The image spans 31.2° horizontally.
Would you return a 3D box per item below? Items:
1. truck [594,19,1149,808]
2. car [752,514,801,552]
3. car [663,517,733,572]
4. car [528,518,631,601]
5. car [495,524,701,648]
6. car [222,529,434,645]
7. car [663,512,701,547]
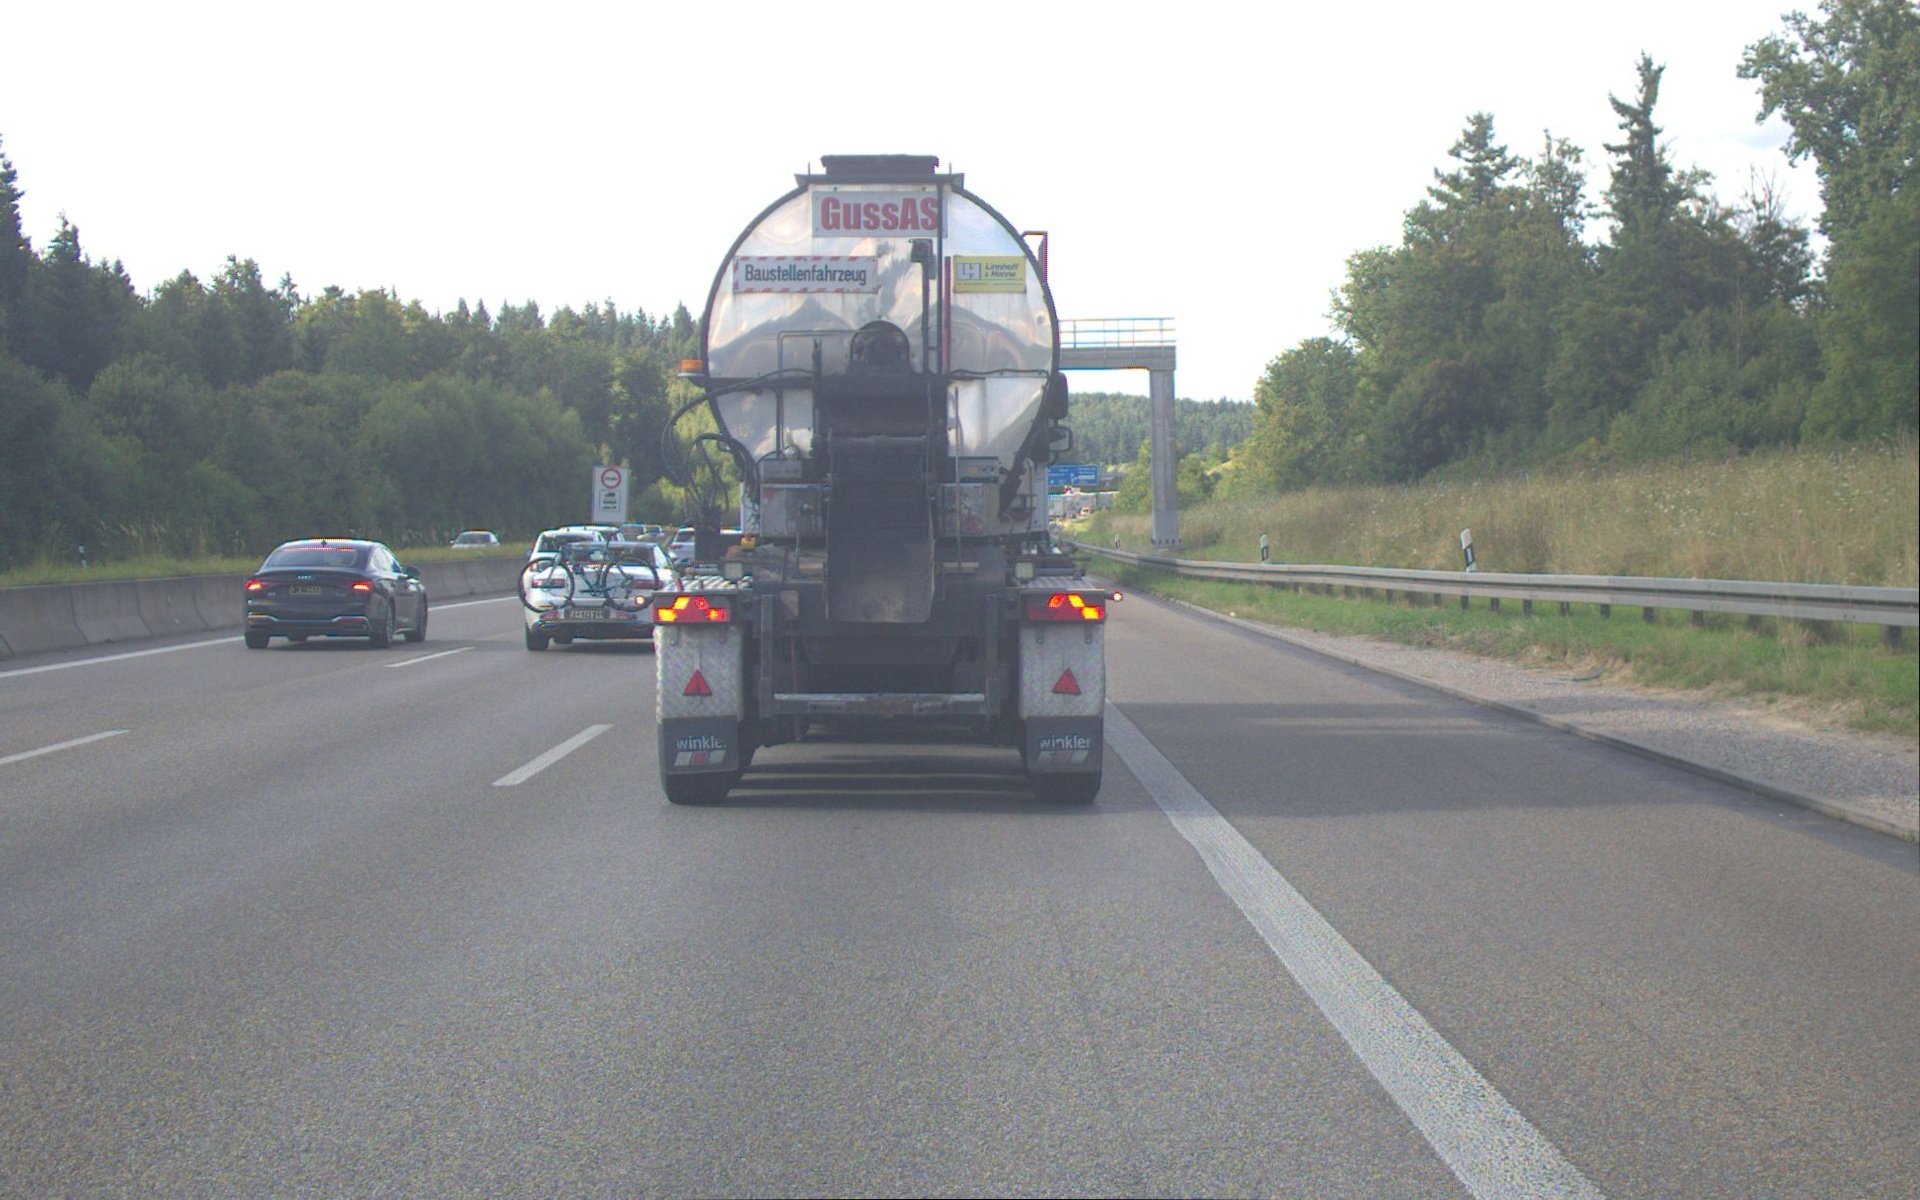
[{"bbox_3d":[-0.465,-1.106,23.712,2.912,4.143,11.270,0,1,0],"label":"truck"},{"bbox_3d":[-7.927,-2.905,149.174,1.942,1.580,4.207,1,2,-1],"label":"car"},{"bbox_3d":[-7.848,-1.689,103.224,1.806,1.580,4.207,1,2,-1],"label":"car"},{"bbox_3d":[-7.322,-0.791,66.410,1.618,1.539,3.520,1,1,-1],"label":"car"},{"bbox_3d":[-4.577,-0.230,44.245,2.060,1.494,5.736,0,1,0],"label":"car"},{"bbox_3d":[-8.111,-0.211,44.537,1.856,1.426,4.841,0,1,0],"label":"car"},{"bbox_3d":[-16.324,-4.159,201.964,1.993,2.007,4.072,0,1,-1],"label":"car"}]
